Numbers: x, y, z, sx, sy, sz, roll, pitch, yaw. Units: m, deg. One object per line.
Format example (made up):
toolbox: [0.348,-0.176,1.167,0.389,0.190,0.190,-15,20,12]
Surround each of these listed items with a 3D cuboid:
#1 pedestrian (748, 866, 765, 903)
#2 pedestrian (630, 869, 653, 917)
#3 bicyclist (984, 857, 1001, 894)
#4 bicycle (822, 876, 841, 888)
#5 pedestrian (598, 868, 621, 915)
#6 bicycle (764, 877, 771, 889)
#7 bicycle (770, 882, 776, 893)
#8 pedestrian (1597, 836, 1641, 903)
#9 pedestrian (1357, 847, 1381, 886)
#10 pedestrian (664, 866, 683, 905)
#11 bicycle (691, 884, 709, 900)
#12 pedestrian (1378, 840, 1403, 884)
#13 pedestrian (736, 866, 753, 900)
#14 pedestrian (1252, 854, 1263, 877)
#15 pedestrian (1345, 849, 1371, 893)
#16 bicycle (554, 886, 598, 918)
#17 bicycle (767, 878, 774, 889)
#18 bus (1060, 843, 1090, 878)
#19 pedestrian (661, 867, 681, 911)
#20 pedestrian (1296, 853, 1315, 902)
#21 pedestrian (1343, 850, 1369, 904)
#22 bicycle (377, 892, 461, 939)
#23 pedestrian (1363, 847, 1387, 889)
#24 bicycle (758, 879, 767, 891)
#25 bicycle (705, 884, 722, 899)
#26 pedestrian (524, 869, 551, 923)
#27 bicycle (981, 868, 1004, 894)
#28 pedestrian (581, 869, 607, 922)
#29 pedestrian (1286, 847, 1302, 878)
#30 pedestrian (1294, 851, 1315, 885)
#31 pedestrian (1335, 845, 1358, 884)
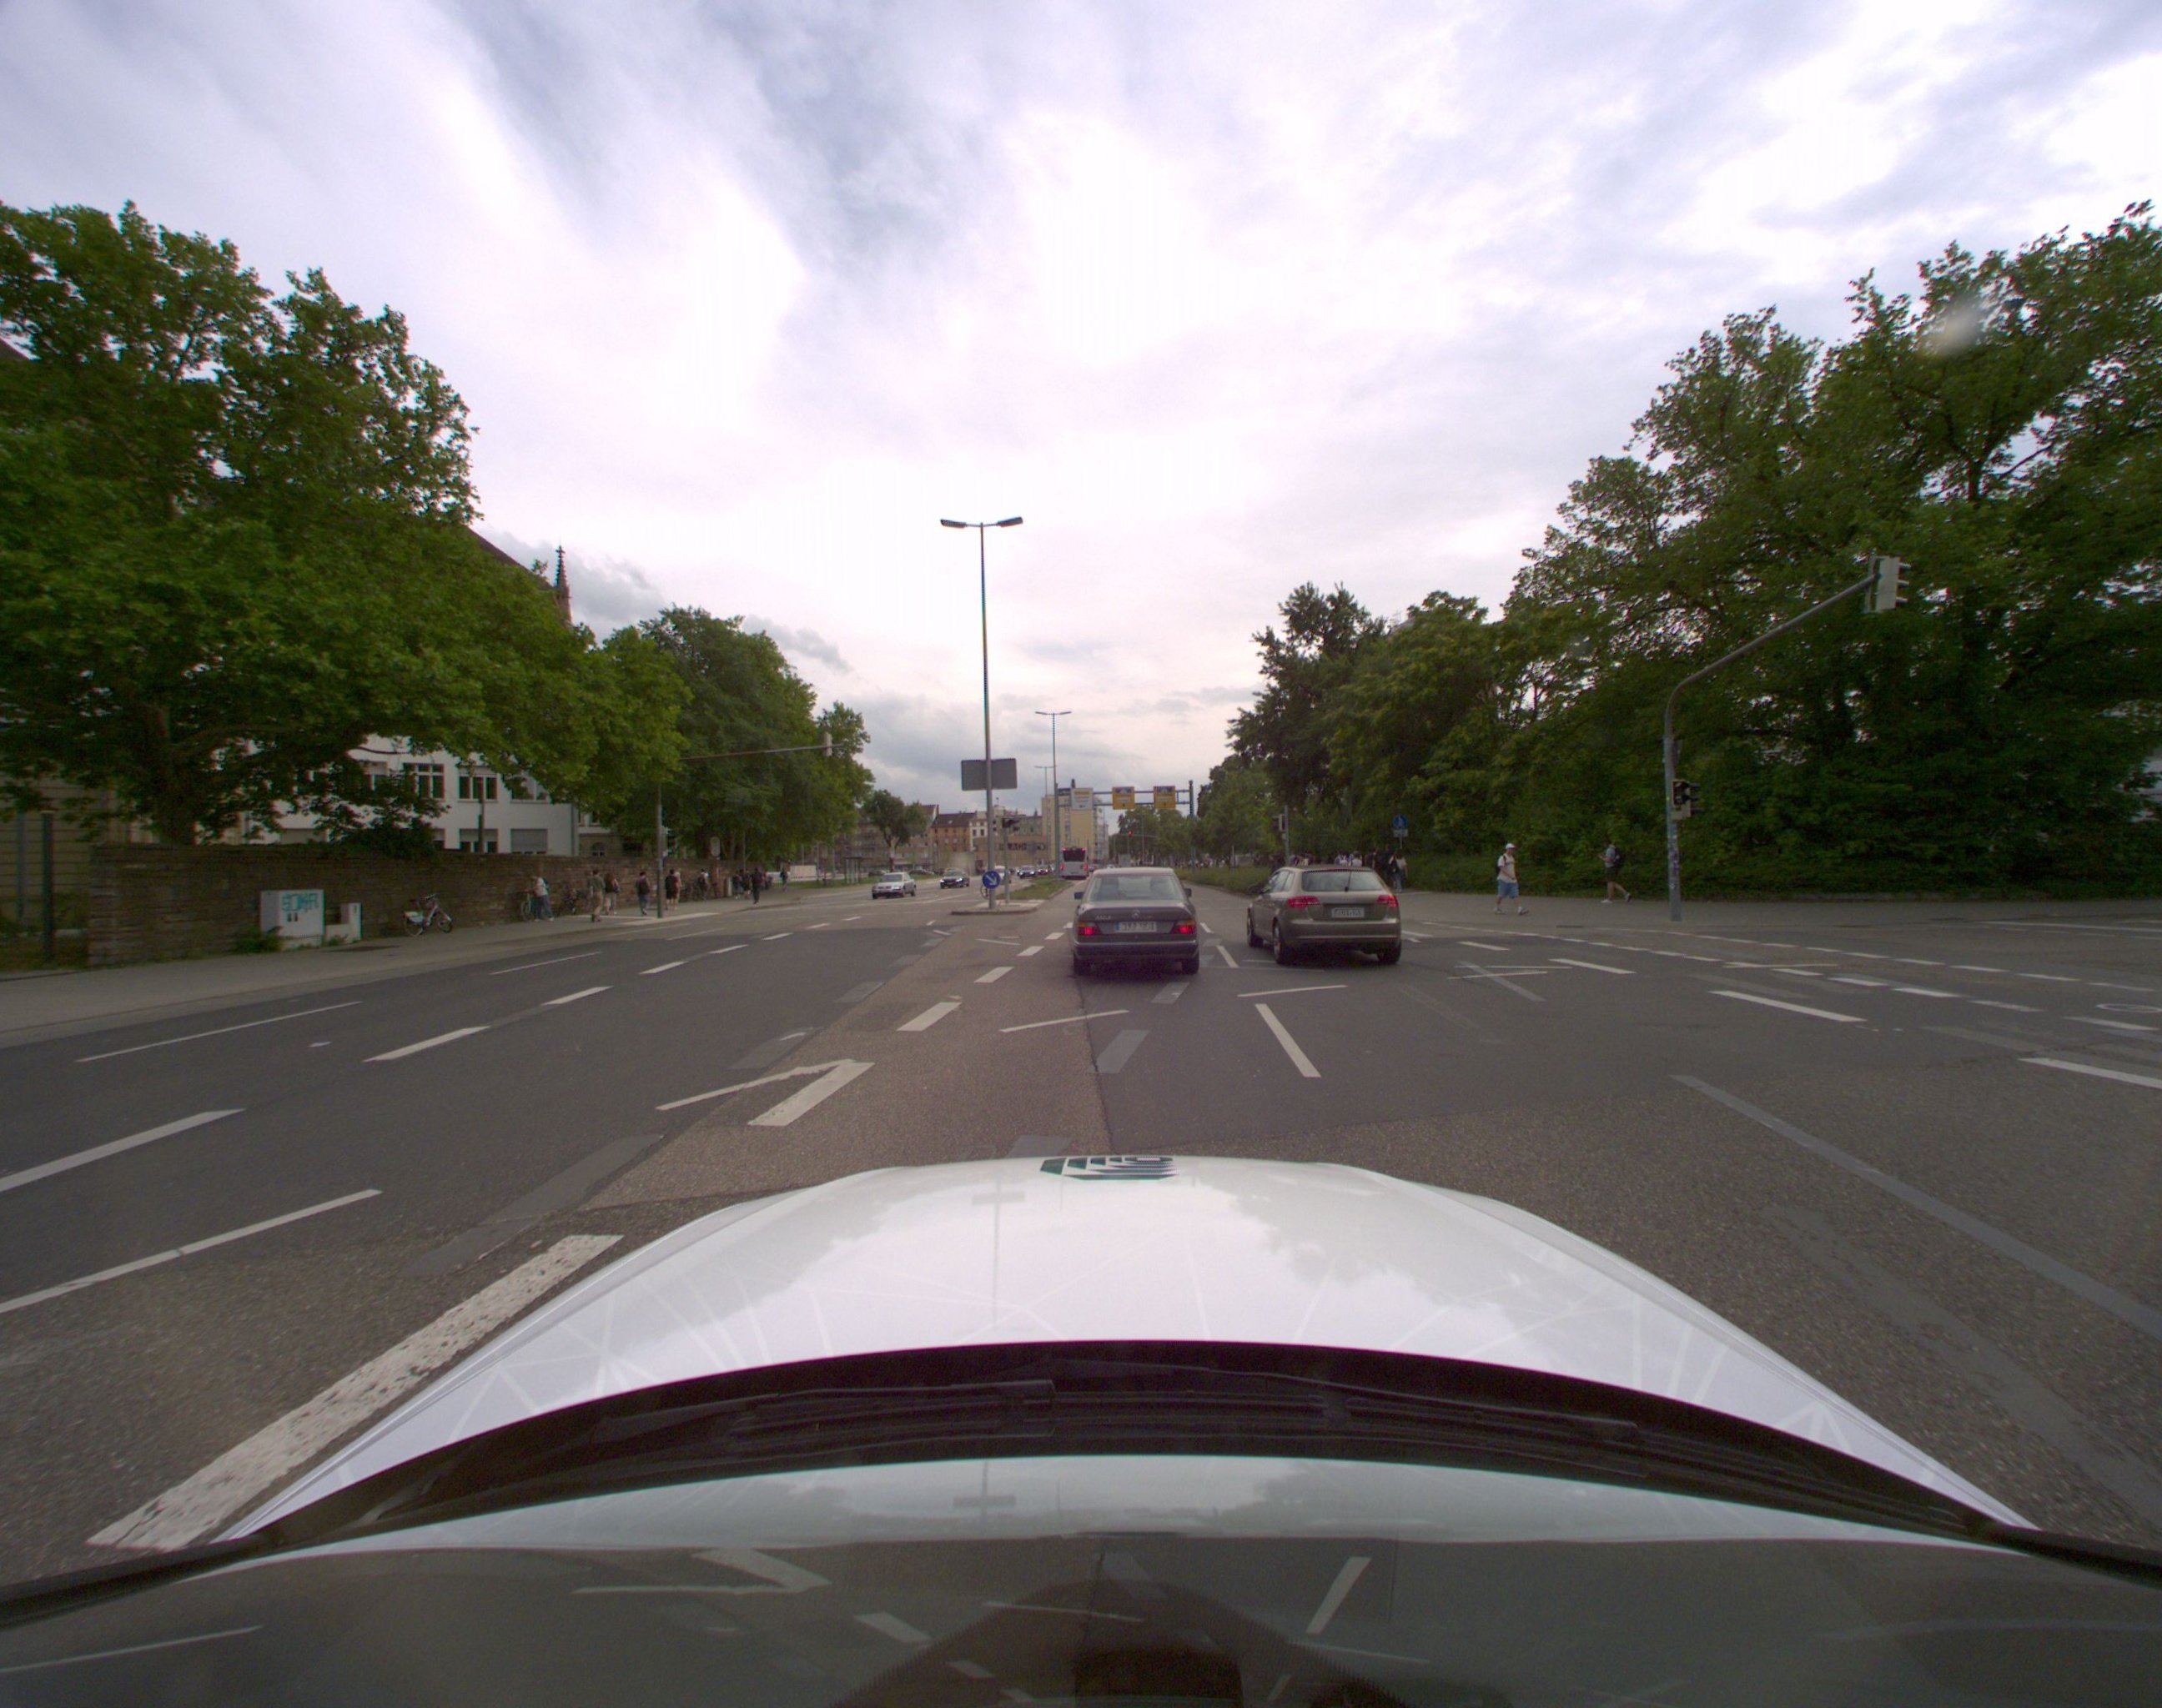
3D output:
pedestrian: [-15.657,1.470,39.286,0.762,1.783,0.716,-1,-2,-22]
pedestrian: [-16.649,1.462,30.864,0.763,1.783,0.776,0,-3,-28]
bicyclist: [-3.865,0.936,35.477,0.569,1.574,0.700,-2,-1,6]
bicycle: [-20.567,2.274,67.125,0.467,0.919,2.345,-2,-1,9]
pedestrian: [-18.193,1.443,31.448,0.763,1.783,0.776,0,-3,-30]
bicycle: [-24.873,2.297,64.546,0.347,0.878,1.514,1,-2,-16]
bicycle: [-27.130,2.961,71.726,0.482,0.907,1.609,-2,-1,-21]
pedestrian: [14.780,0.424,22.382,0.644,1.795,0.738,0,-1,-9]
pedestrian: [12.705,0.548,35.950,0.654,1.667,0.971,-2,-1,0]
pedestrian: [-19.001,1.482,37.992,0.763,1.783,0.906,0,-3,-27]
bicycle: [-20.576,2.061,44.005,0.440,0.797,1.616,1,0,-8]
pedestrian: [12.582,0.317,33.117,0.654,1.745,0.780,-2,-1,-1]
pedestrian: [-18.444,1.593,44.647,0.763,1.783,0.916,0,-3,-27]
pedestrian: [13.110,0.856,60.549,0.585,1.683,0.748,-2,-1,2]
pedestrian: [11.592,0.691,34.070,0.654,1.766,0.957,-3,-1,0]
bicycle: [-18.784,1.763,30.338,0.547,1.058,1.977,1,-1,-5]
bicycle: [-25.564,2.429,67.006,0.442,0.878,1.610,1,-2,-19]
bus: [-0.569,0.670,83.312,2.822,3.390,8.181,-2,0,0]
pedestrian: [-17.151,1.460,34.068,0.763,1.783,0.777,0,-3,-27]
pedestrian: [8.009,0.831,29.049,0.452,1.735,0.637,-2,-1,-1]
pedestrian: [8.827,0.728,26.152,0.544,1.687,0.637,-2,-1,-1]
bicycle: [-17.977,1.643,22.190,0.576,1.126,2.163,1,-1,-3]
pedestrian: [12.284,0.586,34.081,0.654,1.699,0.780,-2,-1,-1]
bicycle: [-24.383,2.340,62.366,0.417,0.878,1.547,1,-2,-16]
bicycle: [-20.860,2.111,46.248,0.440,0.797,1.616,1,0,-8]
pedestrian: [-18.405,1.412,27.571,0.750,1.783,0.775,0,-3,-33]
bicycle: [-3.856,1.169,35.508,0.570,1.055,1.929,-2,0,6]
pedestrian: [-16.674,1.421,27.883,0.749,1.783,0.776,0,-3,-31]
pedestrian: [11.818,0.471,45.243,0.616,1.735,0.815,-2,-1,2]
pedestrian: [11.000,0.691,40.100,0.772,1.602,0.812,-2,-1,2]
pedestrian: [11.735,0.457,35.988,0.654,1.689,0.841,-2,-1,0]
